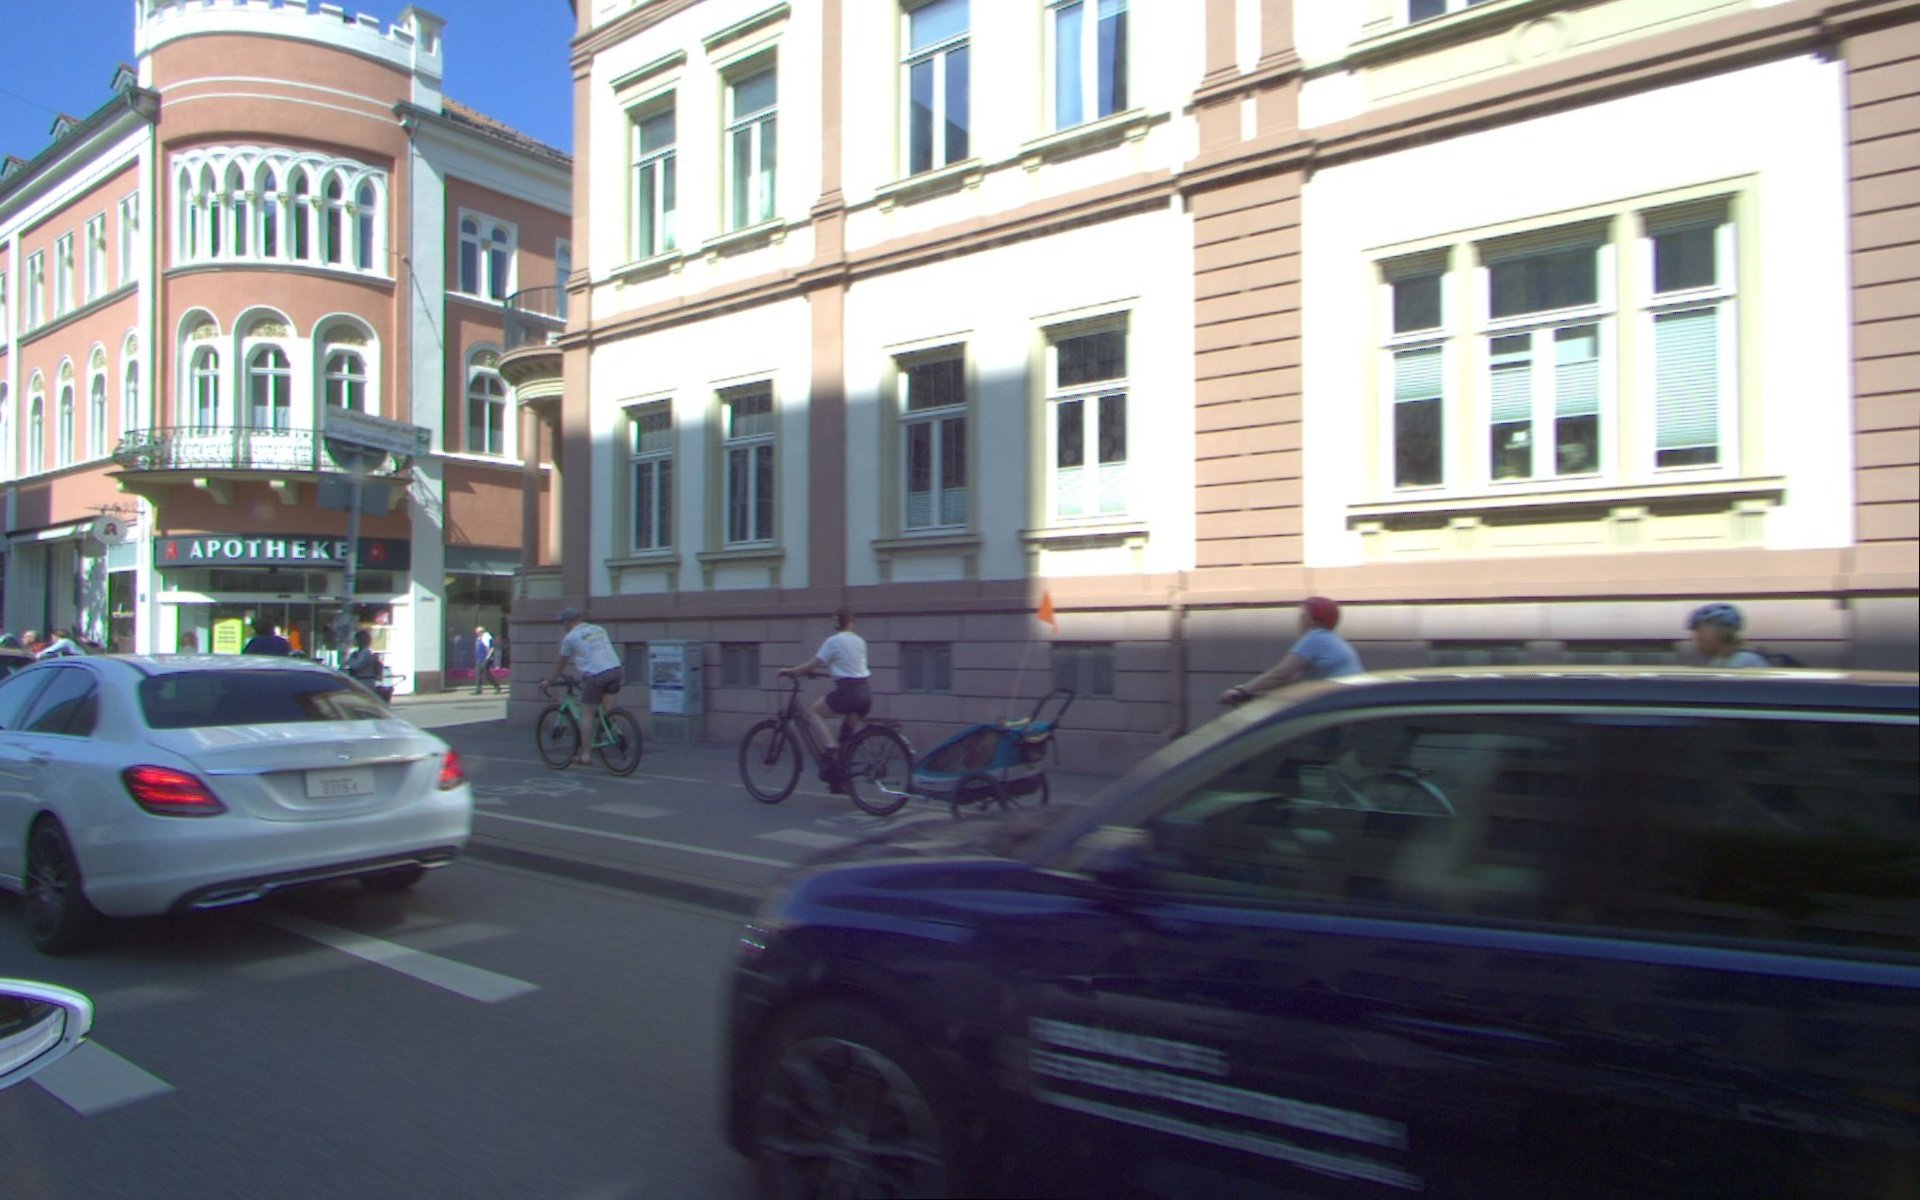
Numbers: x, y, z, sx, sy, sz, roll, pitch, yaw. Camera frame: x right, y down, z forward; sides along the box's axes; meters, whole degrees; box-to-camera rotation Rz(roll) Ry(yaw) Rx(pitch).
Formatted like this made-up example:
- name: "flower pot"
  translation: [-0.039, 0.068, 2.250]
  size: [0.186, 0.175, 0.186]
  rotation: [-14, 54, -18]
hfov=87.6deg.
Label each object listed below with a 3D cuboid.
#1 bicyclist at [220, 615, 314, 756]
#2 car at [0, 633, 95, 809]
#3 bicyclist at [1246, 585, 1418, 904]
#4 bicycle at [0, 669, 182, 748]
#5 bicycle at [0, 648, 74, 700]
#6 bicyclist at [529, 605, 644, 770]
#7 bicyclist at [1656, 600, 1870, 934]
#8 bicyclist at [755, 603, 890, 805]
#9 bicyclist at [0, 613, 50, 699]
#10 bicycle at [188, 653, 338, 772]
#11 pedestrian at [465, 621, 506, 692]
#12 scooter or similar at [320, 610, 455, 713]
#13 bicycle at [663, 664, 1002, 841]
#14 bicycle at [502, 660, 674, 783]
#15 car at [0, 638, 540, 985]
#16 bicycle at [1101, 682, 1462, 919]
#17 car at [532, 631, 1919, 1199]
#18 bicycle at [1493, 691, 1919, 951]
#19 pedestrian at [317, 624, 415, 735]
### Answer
- name: "bicyclist"
  translation: [-8.690, 1.042, 12.565]
  size: [0.764, 1.695, 0.729]
  rotation: [-1, -1, 33]
- name: "car"
  translation: [-9.672, 1.091, 9.583]
  size: [3.691, 1.496, 1.621]
  rotation: [-3, -4, 42]
- name: "bicyclist"
  translation: [2.233, 0.809, 6.000]
  size: [0.833, 1.739, 0.681]
  rotation: [-1, -2, 33]
- name: "bicycle"
  translation: [-13.496, 1.631, 15.266]
  size: [2.545, 1.140, 0.623]
  rotation: [3, -4, -39]
- name: "bicycle"
  translation: [-16.073, 1.236, 16.750]
  size: [0.494, 0.855, 1.818]
  rotation: [0, -2, 33]
- name: "bicyclist"
  translation: [-4.033, 0.905, 10.801]
  size: [1.141, 1.684, 0.570]
  rotation: [1, 1, 29]
- name: "bicyclist"
  translation: [4.292, 0.842, 5.416]
  size: [0.833, 1.657, 0.514]
  rotation: [-1, -1, 33]
- name: "bicyclist"
  translation: [-1.172, 0.841, 8.572]
  size: [0.832, 1.594, 0.744]
  rotation: [2, 1, 33]
- name: "bicyclist"
  translation: [-15.997, 0.940, 16.878]
  size: [0.494, 1.429, 0.857]
  rotation: [0, -1, 33]
- name: "bicycle"
  translation: [-8.688, 1.349, 12.446]
  size: [2.250, 1.285, 0.730]
  rotation: [1, -2, 34]
- name: "pedestrian"
  translation: [-11.765, 1.395, 24.829]
  size: [0.781, 1.680, 0.636]
  rotation: [2, 0, 44]
- name: "scooter or similar"
  translation: [-6.793, 0.724, 11.896]
  size: [1.108, 1.075, 0.782]
  rotation: [-4, 4, 24]
- name: "bicycle"
  translation: [-1.195, 1.202, 8.584]
  size: [3.195, 1.142, 0.746]
  rotation: [0, 0, 34]
- name: "bicycle"
  translation: [-4.037, 1.262, 10.806]
  size: [2.046, 1.142, 0.570]
  rotation: [0, 0, 30]
- name: "car"
  translation: [-5.056, 0.993, 6.344]
  size: [4.815, 1.442, 1.951]
  rotation: [-1, -4, 32]
- name: "bicycle"
  translation: [1.936, 1.135, 6.173]
  size: [2.006, 1.141, 0.733]
  rotation: [-1, 0, 34]
- name: "car"
  translation: [1.062, 0.899, 2.606]
  size: [4.229, 1.509, 1.885]
  rotation: [-2, -5, 32]
- name: "bicycle"
  translation: [4.043, 1.136, 5.590]
  size: [1.834, 1.141, 0.604]
  rotation: [-1, 0, 34]
- name: "pedestrian"
  translation: [-9.266, 1.229, 15.661]
  size: [0.957, 1.632, 0.903]
  rotation: [-3, -1, -5]
